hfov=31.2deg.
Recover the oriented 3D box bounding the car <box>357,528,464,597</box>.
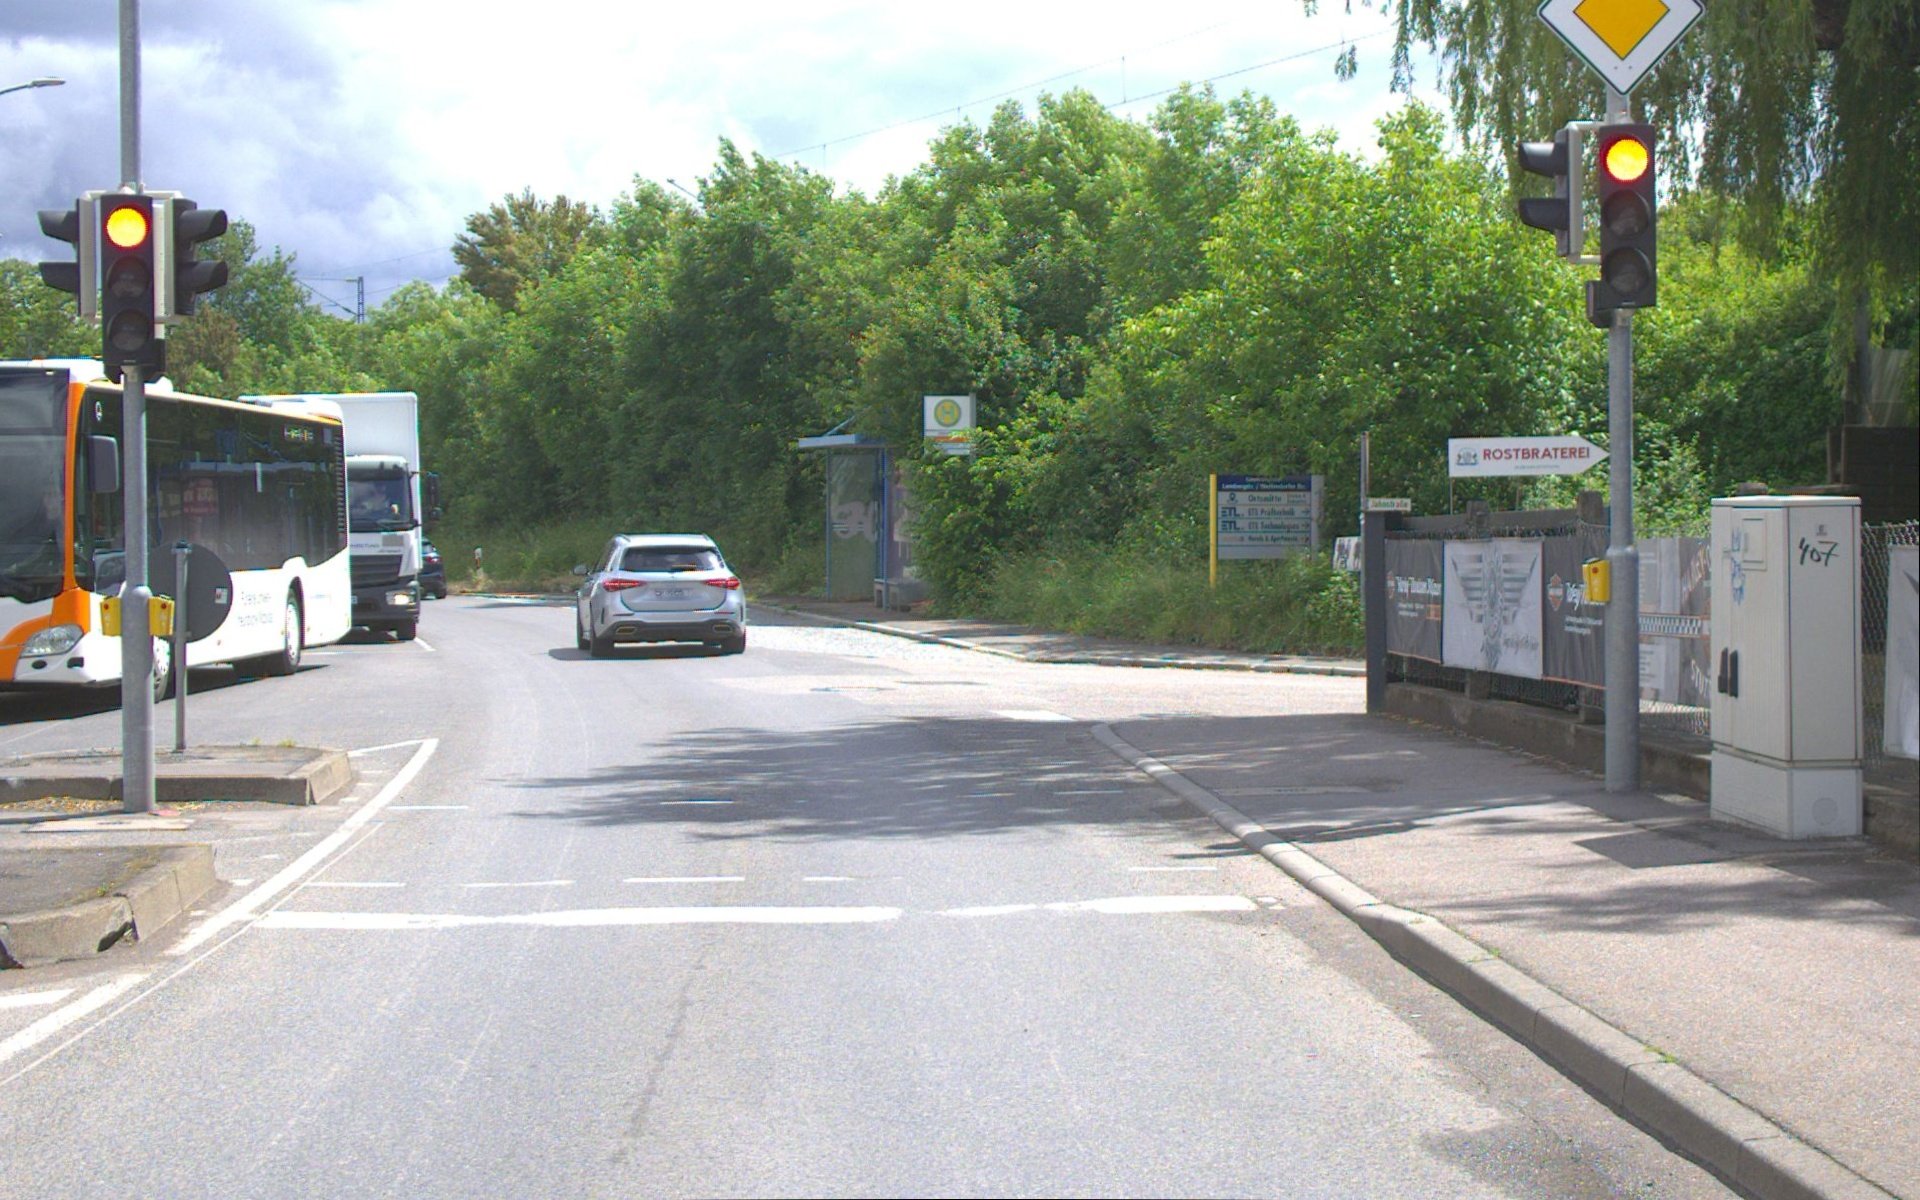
[{"bbox_3d":[-12.383,-0.859,77.278,1.884,1.503,4.001,0,1,-16],"label":"car"}]

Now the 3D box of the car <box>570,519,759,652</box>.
[{"bbox_3d":[-3.631,-0.211,41.678,1.884,1.503,4.001,-1,1,-11],"label":"car"}]

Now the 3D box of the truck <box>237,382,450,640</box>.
[{"bbox_3d":[-9.272,-1.332,52.196,2.839,3.528,9.727,-1,1,-9],"label":"truck"}]

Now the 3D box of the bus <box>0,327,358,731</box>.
[{"bbox_3d":[-8.412,-0.686,33.872,2.777,3.255,12.124,-1,1,0],"label":"bus"}]
